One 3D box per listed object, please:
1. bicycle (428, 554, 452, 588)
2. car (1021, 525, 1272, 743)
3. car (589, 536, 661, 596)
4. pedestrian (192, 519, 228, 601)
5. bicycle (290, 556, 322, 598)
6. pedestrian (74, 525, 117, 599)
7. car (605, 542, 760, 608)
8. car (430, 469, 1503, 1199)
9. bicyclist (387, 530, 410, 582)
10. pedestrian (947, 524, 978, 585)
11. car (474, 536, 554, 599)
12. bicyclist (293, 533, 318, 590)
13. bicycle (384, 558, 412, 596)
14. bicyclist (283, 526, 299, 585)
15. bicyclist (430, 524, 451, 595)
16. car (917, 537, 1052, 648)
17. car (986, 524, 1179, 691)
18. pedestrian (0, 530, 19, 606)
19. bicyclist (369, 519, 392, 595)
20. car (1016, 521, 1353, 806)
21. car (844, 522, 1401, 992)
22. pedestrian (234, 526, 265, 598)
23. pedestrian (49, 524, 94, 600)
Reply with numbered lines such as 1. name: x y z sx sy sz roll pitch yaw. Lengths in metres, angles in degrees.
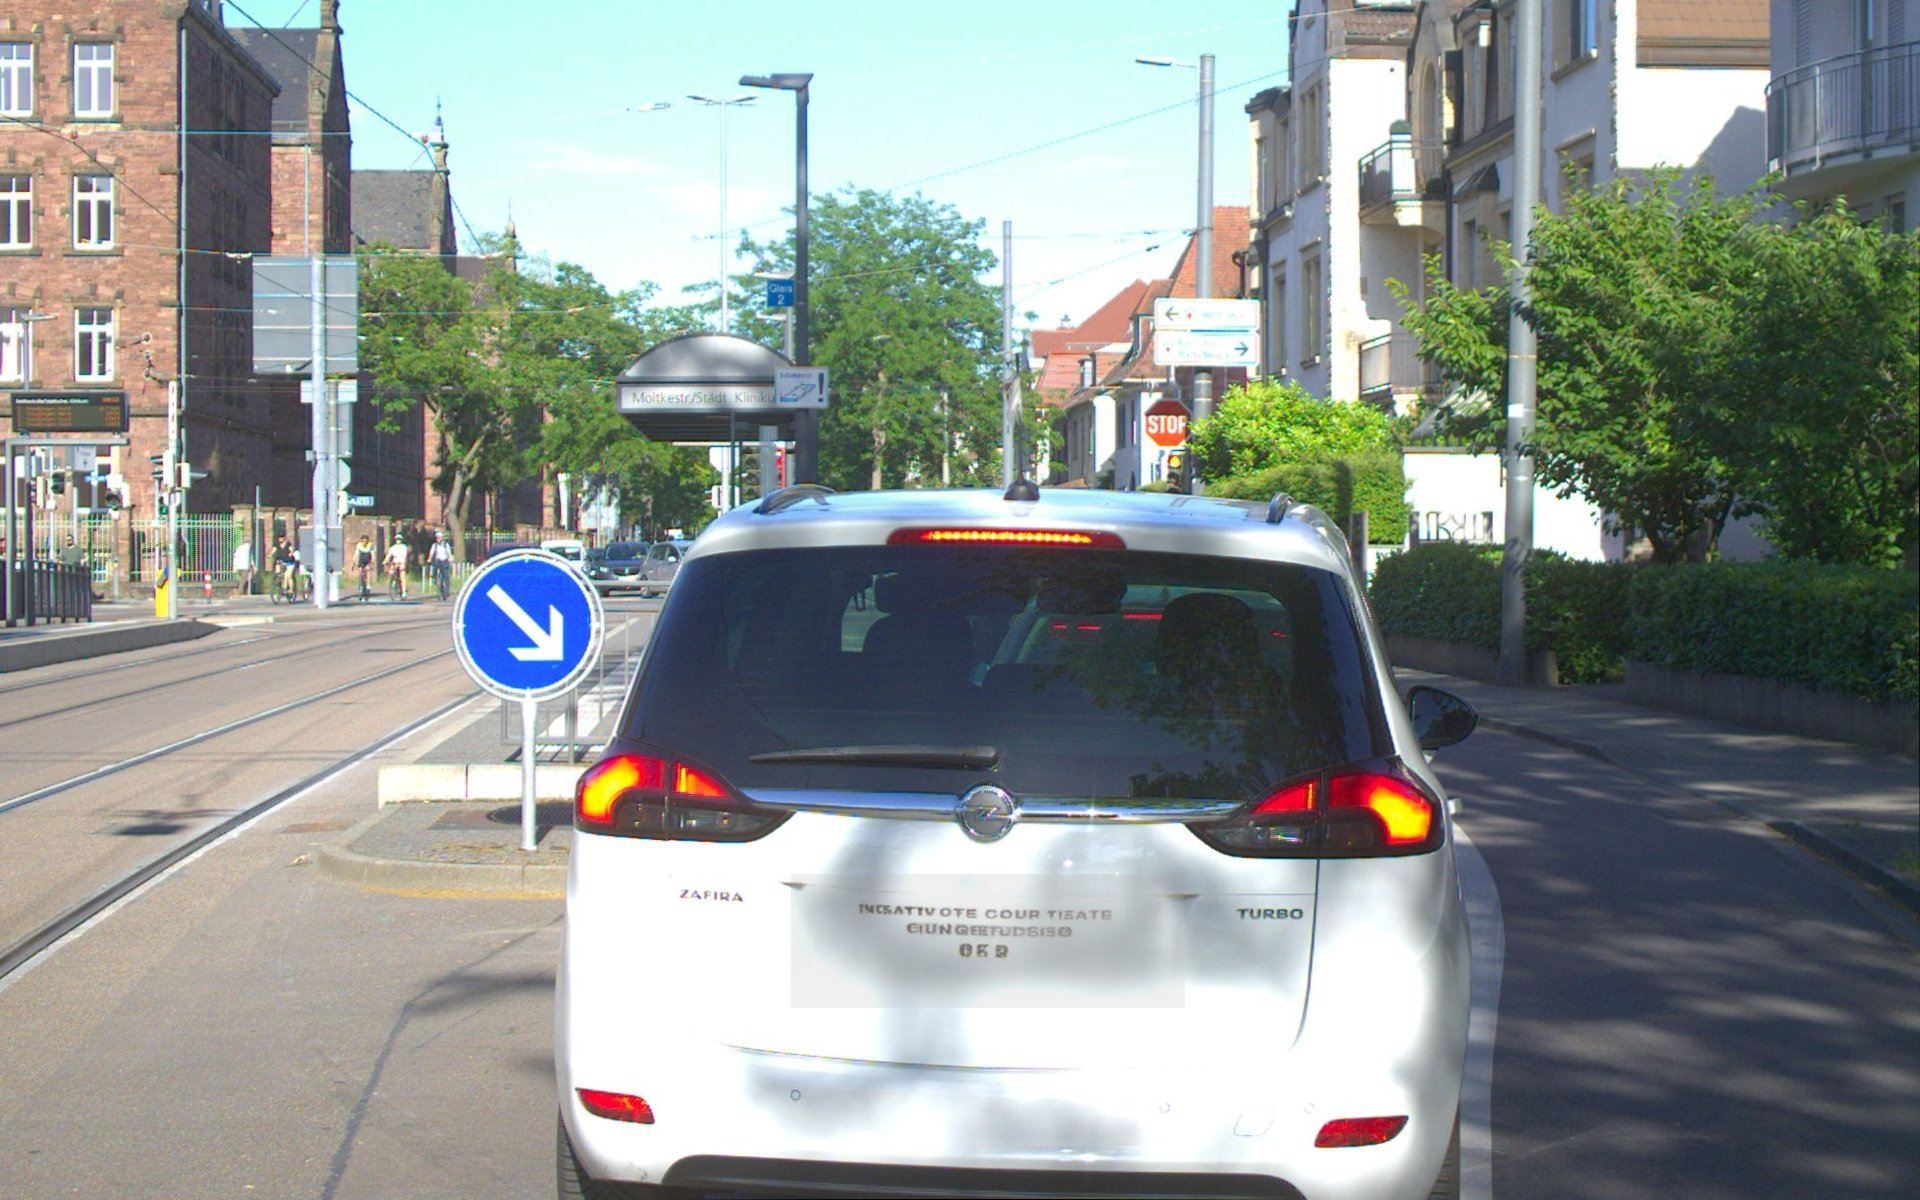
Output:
1. bicycle: -14.761 -0.823 97.625 0.487 0.968 1.405 1 1 0
2. car: 1.565 0.221 28.271 1.907 1.656 4.000 0 1 4
3. car: -9.808 -1.006 100.835 1.746 1.710 4.000 1 1 -1
4. pedestrian: -18.529 -0.999 84.972 0.794 2.007 0.721 1 0 -17
5. bicycle: -16.925 -0.590 89.001 0.509 1.073 1.739 1 1 -1
6. pedestrian: -22.376 -0.987 88.955 0.808 1.894 0.743 1 0 14
7. car: -7.405 -0.668 91.588 3.996 1.710 1.748 1 1 39
8. car: 0.225 0.562 8.071 1.907 1.656 3.999 0 1 7
9. bicyclist: -15.945 -1.252 97.657 0.531 1.472 0.572 1 0 -1
10. pedestrian: 0.078 -1.407 106.824 0.808 1.894 0.743 1 0 13
11. car: -12.601 -0.915 97.314 1.746 1.710 4.000 1 1 -1
12. bicyclist: -16.932 -0.995 88.986 0.531 1.472 0.572 1 0 -1
13. bicycle: -15.954 -0.662 97.628 0.509 1.073 1.739 1 1 -1
14. bicyclist: -16.511 -1.093 84.837 0.313 1.439 0.384 1 0 -1
15. bicyclist: -14.757 -1.140 97.716 0.488 2.007 0.502 1 0 -1
16. car: 0.337 -0.146 53.086 1.907 1.656 4.001 0 1 -2
17. car: 1.242 0.040 36.108 1.907 1.656 4.000 0 1 1
18. pedestrian: -22.338 -0.754 80.092 0.766 1.768 0.721 1 0 -17
19. bicyclist: -15.542 -1.153 92.234 0.498 2.007 0.572 1 0 -1
20. car: 1.502 0.323 21.611 1.907 1.619 3.999 0 1 7
21. car: 0.780 0.496 13.772 1.907 1.592 3.999 0 1 7
22. pedestrian: -20.214 -1.081 97.787 0.689 2.007 0.617 1 0 4
23. pedestrian: -22.312 -0.960 86.328 0.808 1.894 0.743 1 0 14
